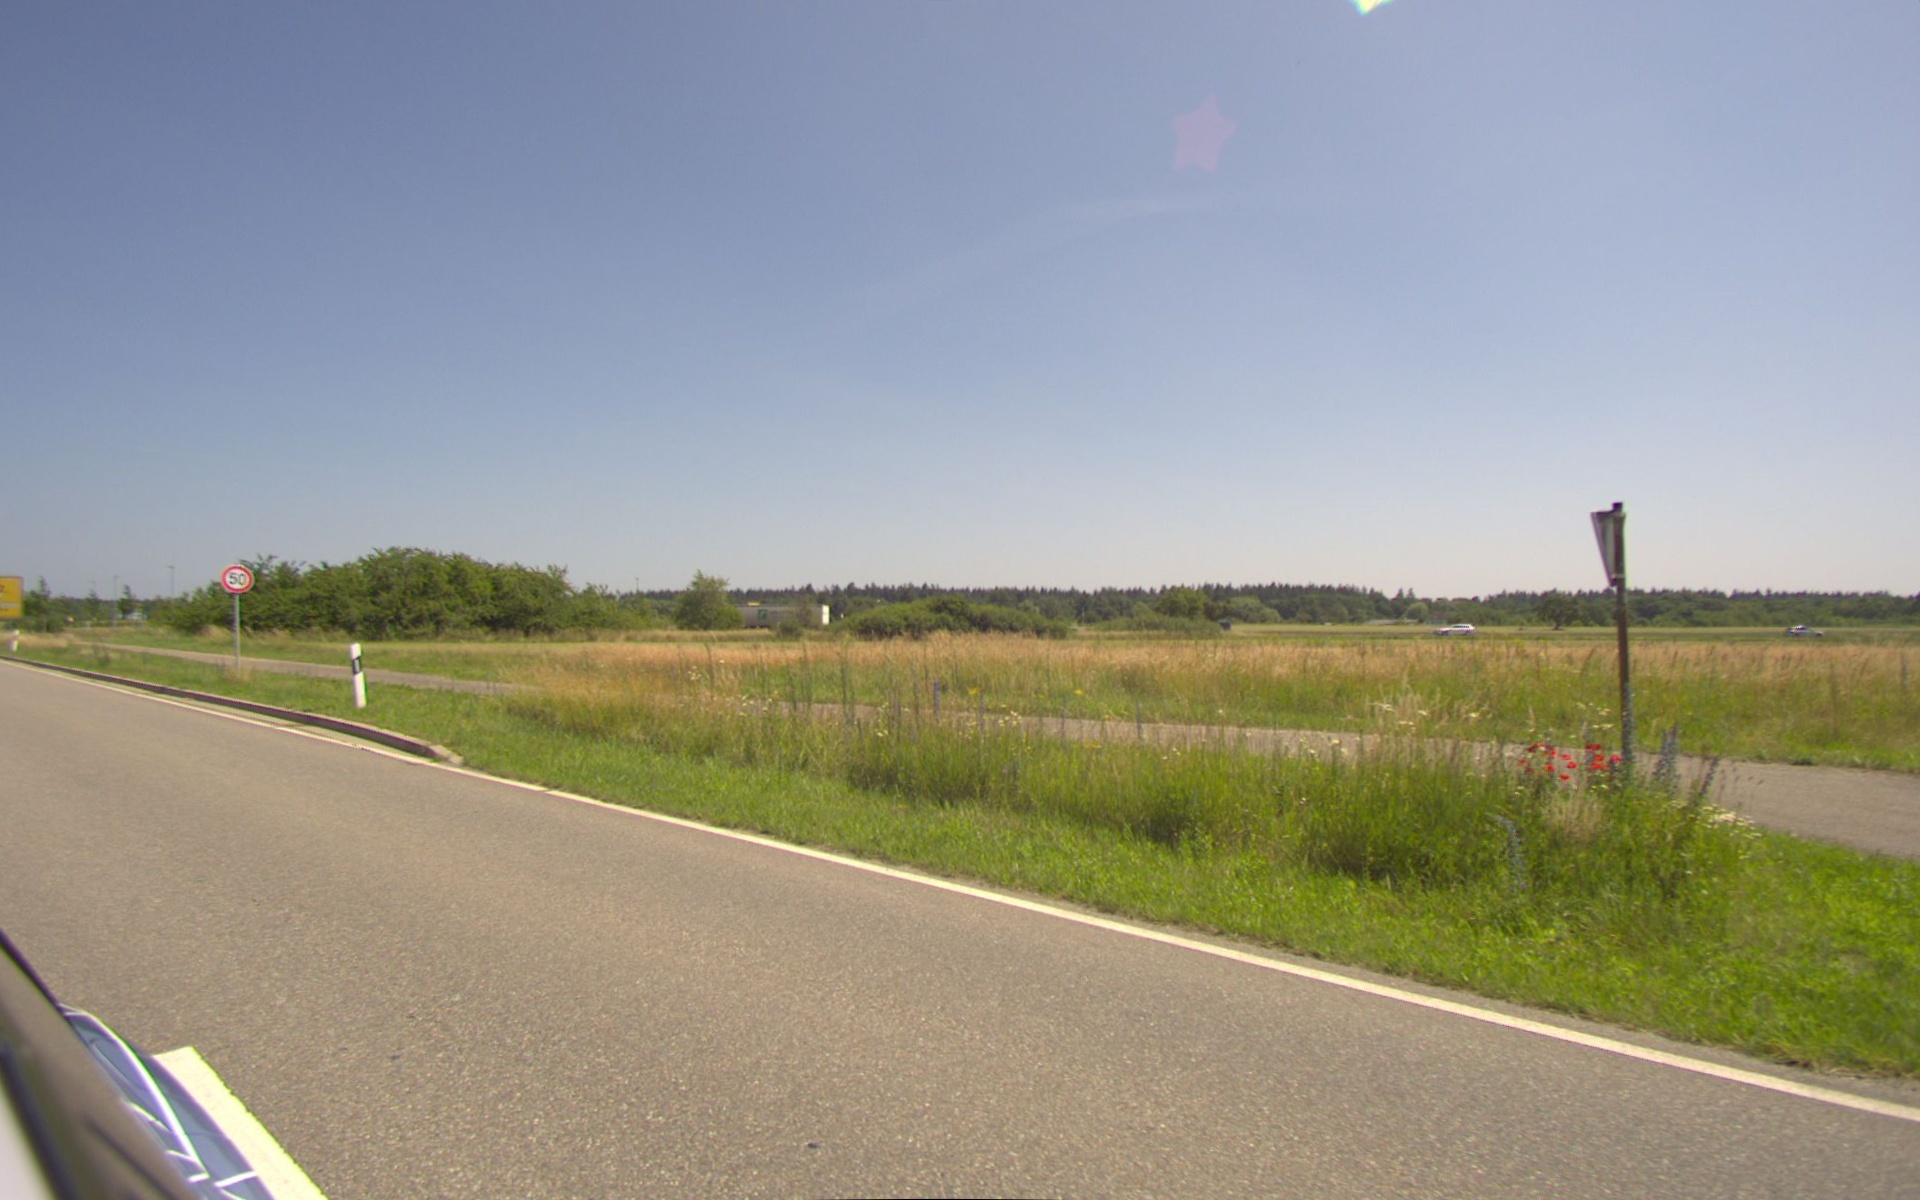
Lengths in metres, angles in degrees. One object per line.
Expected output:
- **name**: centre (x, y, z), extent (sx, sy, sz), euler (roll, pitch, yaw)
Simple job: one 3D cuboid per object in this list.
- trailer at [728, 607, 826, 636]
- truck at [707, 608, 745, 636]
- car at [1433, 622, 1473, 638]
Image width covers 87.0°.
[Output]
- **trailer**: centre (-25.826, 3.093, 142.893), extent (13.738, 3.964, 2.633), euler (0, -2, 12)
- **truck**: centre (-33.403, 3.176, 144.548), extent (4.729, 3.964, 2.633), euler (0, -2, 12)
- **car**: centre (62.733, 3.804, 128.890), extent (4.185, 2.029, 1.993), euler (0, -2, 12)
